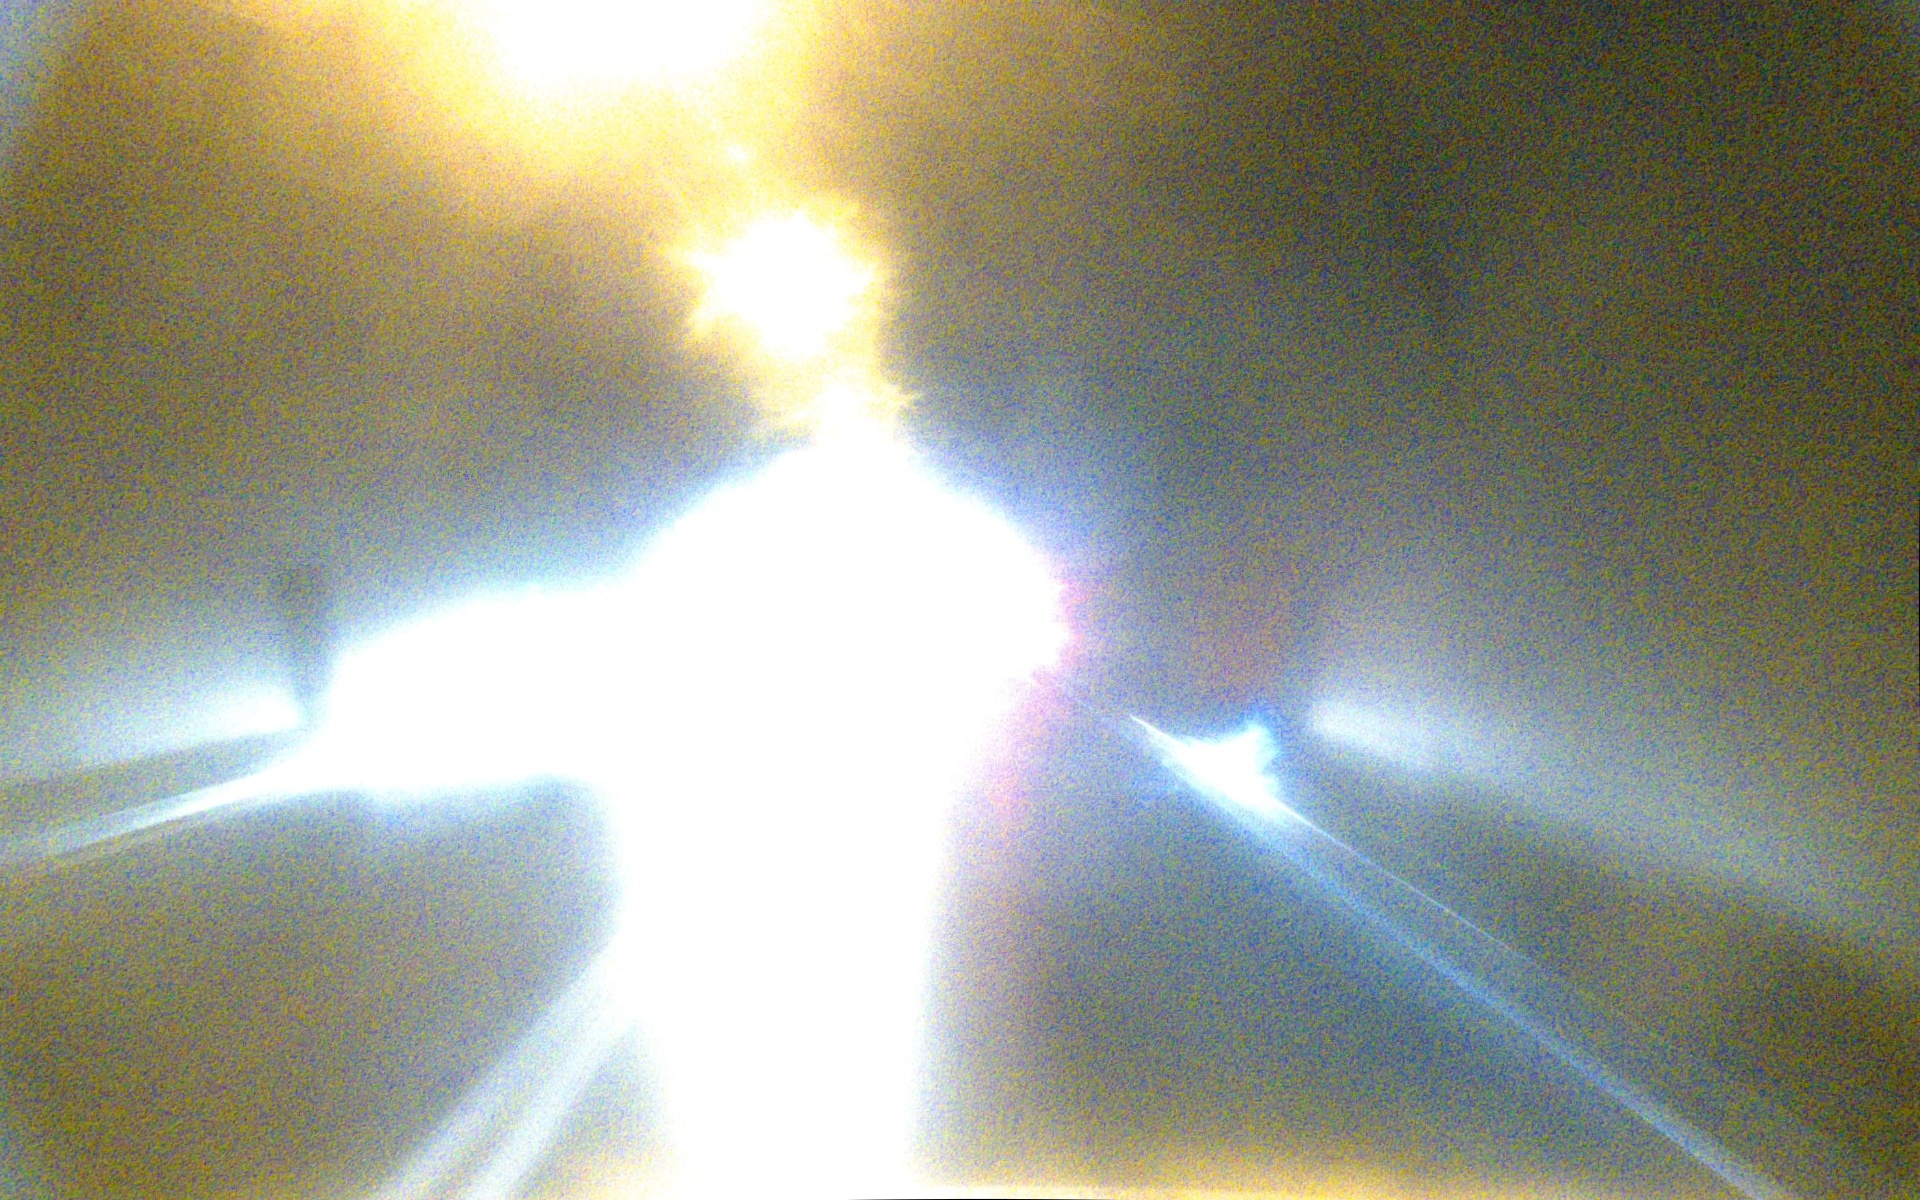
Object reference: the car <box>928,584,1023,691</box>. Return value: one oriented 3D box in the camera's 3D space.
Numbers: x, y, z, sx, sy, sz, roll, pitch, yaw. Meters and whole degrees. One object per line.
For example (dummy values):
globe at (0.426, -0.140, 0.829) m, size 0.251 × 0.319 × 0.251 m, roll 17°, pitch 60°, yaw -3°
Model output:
car at (0.252, 0.616, 30.169) m, size 1.602 × 1.788 × 4.145 m, roll -1°, pitch 1°, yaw 0°

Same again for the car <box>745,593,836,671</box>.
car at (-3.636, 0.648, 35.984) m, size 1.602 × 1.561 × 3.646 m, roll -1°, pitch 1°, yaw 0°
